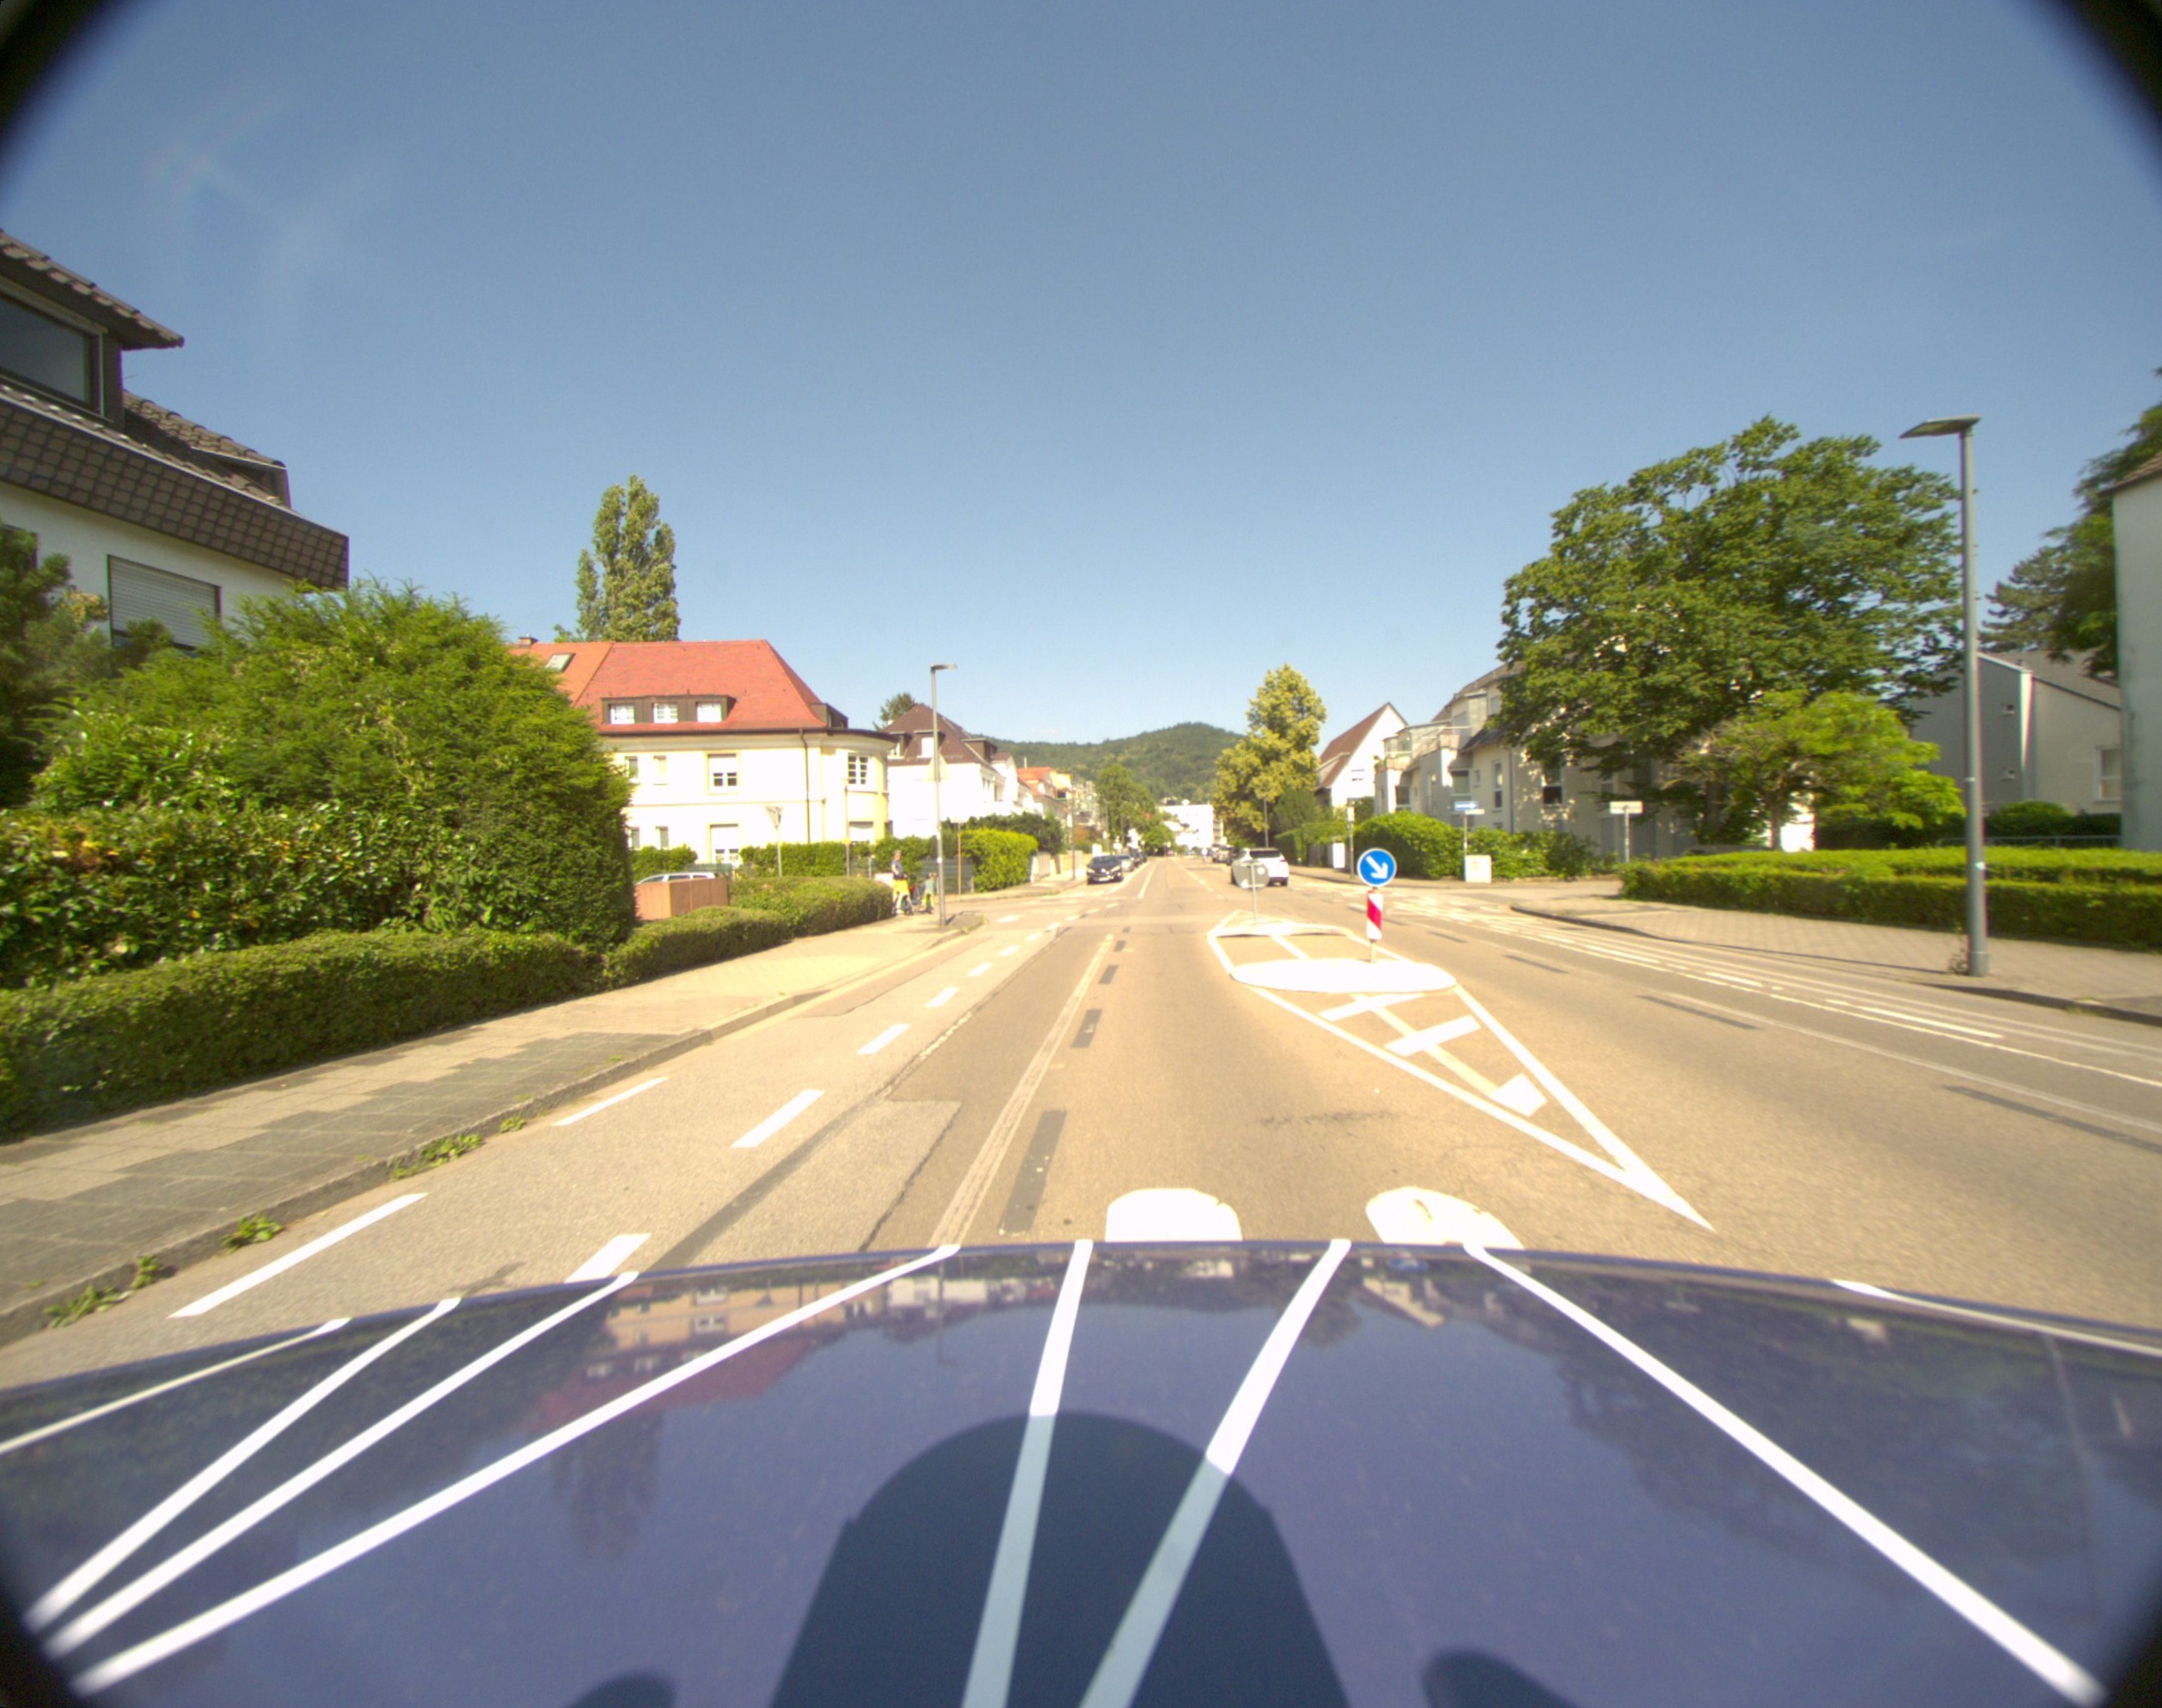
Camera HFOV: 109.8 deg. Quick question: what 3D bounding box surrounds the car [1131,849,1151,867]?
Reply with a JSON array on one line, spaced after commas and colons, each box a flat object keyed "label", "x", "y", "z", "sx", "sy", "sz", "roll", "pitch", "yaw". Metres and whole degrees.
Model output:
[{"label": "car", "x": 5.580, "y": 0.386, "z": 70.711, "sx": 1.726, "sy": 1.441, "sz": 4.169, "roll": -4, "pitch": 1, "yaw": 5}]

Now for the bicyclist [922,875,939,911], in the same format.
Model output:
[{"label": "bicyclist", "x": -4.091, "y": 1.052, "z": 20.669, "sx": 0.402, "sy": 0.924, "sz": 0.657, "roll": -2, "pitch": 1, "yaw": -8}]

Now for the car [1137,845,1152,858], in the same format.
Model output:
[{"label": "car", "x": 8.407, "y": -0.355, "z": 100.705, "sx": 1.700, "sy": 1.573, "sz": 4.902, "roll": -4, "pitch": 0, "yaw": 4}]

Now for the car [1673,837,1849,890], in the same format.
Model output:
[{"label": "car", "x": 19.842, "y": 0.262, "z": 22.298, "sx": 3.499, "sy": 1.404, "sz": 1.727, "roll": -2, "pitch": 1, "yaw": 5}]

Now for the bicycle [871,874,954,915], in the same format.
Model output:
[{"label": "bicycle", "x": -5.114, "y": 1.195, "z": 22.949, "sx": 2.704, "sy": 1.152, "sz": 0.865, "roll": -1, "pitch": 1, "yaw": 38}]

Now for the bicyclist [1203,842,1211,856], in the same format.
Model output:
[{"label": "bicyclist", "x": 14.713, "y": -0.552, "z": 88.910, "sx": 0.677, "sy": 1.571, "sz": 0.859, "roll": 5, "pitch": 2, "yaw": 6}]

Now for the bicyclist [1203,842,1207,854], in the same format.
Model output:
[{"label": "bicyclist", "x": 15.212, "y": -0.696, "z": 93.124, "sx": 0.491, "sy": 1.446, "sz": 0.964, "roll": 1, "pitch": 2, "yaw": 7}]

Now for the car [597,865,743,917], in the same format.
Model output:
[{"label": "car", "x": -14.185, "y": 1.257, "z": 26.382, "sx": 3.998, "sy": 1.559, "sz": 1.810, "roll": -2, "pitch": 1, "yaw": -3}]

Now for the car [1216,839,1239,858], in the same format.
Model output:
[{"label": "car", "x": 15.595, "y": -0.615, "z": 81.154, "sx": 1.889, "sy": 1.909, "sz": 4.869, "roll": -1, "pitch": 1, "yaw": 4}]

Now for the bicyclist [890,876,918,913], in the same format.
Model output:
[{"label": "bicyclist", "x": -4.643, "y": 1.060, "z": 19.901, "sx": 0.607, "sy": 0.928, "sz": 0.400, "roll": -1, "pitch": 2, "yaw": 39}]

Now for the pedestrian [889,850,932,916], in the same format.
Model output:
[{"label": "pedestrian", "x": -5.003, "y": 0.820, "z": 22.296, "sx": 0.903, "sy": 1.862, "sz": 1.186, "roll": -2, "pitch": 1, "yaw": -27}]

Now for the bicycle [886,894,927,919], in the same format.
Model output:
[{"label": "bicycle", "x": -4.585, "y": 1.372, "z": 19.922, "sx": 1.148, "sy": 0.596, "sz": 0.403, "roll": -1, "pitch": 1, "yaw": 39}]

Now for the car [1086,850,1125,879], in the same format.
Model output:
[{"label": "car", "x": 1.343, "y": 0.505, "z": 39.717, "sx": 1.740, "sy": 1.321, "sz": 4.261, "roll": -5, "pitch": 0, "yaw": 5}]

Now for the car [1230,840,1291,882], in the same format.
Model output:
[{"label": "car", "x": 7.503, "y": 0.231, "z": 32.151, "sx": 1.919, "sy": 1.657, "sz": 4.507, "roll": 0, "pitch": 1, "yaw": 5}]

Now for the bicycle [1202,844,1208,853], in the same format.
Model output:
[{"label": "bicycle", "x": 15.236, "y": -0.654, "z": 93.200, "sx": 0.602, "sy": 1.099, "sz": 1.347, "roll": 1, "pitch": 1, "yaw": 7}]

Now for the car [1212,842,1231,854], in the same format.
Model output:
[{"label": "car", "x": 16.866, "y": -0.729, "z": 91.305, "sx": 1.837, "sy": 1.477, "sz": 4.564, "roll": 1, "pitch": 1, "yaw": 6}]

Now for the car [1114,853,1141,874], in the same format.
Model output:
[{"label": "car", "x": 3.484, "y": 0.671, "z": 56.864, "sx": 1.740, "sy": 1.321, "sz": 4.077, "roll": -4, "pitch": 1, "yaw": 6}]

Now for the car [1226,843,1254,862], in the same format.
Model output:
[{"label": "car", "x": 14.179, "y": -0.155, "z": 67.884, "sx": 1.855, "sy": 1.601, "sz": 4.449, "roll": -1, "pitch": 1, "yaw": 5}]

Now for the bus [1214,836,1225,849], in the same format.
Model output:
[{"label": "bus", "x": 35.778, "y": -2.900, "z": 196.525, "sx": 2.750, "sy": 3.156, "sz": 9.785, "roll": 1, "pitch": 1, "yaw": 10}]

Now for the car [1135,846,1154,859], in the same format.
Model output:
[{"label": "car", "x": 7.230, "y": -0.192, "z": 86.652, "sx": 1.622, "sy": 1.441, "sz": 4.003, "roll": -1, "pitch": 1, "yaw": 12}]

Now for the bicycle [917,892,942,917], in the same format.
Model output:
[{"label": "bicycle", "x": -4.137, "y": 1.370, "z": 20.710, "sx": 0.403, "sy": 0.596, "sz": 1.171, "roll": -2, "pitch": 1, "yaw": -25}]
